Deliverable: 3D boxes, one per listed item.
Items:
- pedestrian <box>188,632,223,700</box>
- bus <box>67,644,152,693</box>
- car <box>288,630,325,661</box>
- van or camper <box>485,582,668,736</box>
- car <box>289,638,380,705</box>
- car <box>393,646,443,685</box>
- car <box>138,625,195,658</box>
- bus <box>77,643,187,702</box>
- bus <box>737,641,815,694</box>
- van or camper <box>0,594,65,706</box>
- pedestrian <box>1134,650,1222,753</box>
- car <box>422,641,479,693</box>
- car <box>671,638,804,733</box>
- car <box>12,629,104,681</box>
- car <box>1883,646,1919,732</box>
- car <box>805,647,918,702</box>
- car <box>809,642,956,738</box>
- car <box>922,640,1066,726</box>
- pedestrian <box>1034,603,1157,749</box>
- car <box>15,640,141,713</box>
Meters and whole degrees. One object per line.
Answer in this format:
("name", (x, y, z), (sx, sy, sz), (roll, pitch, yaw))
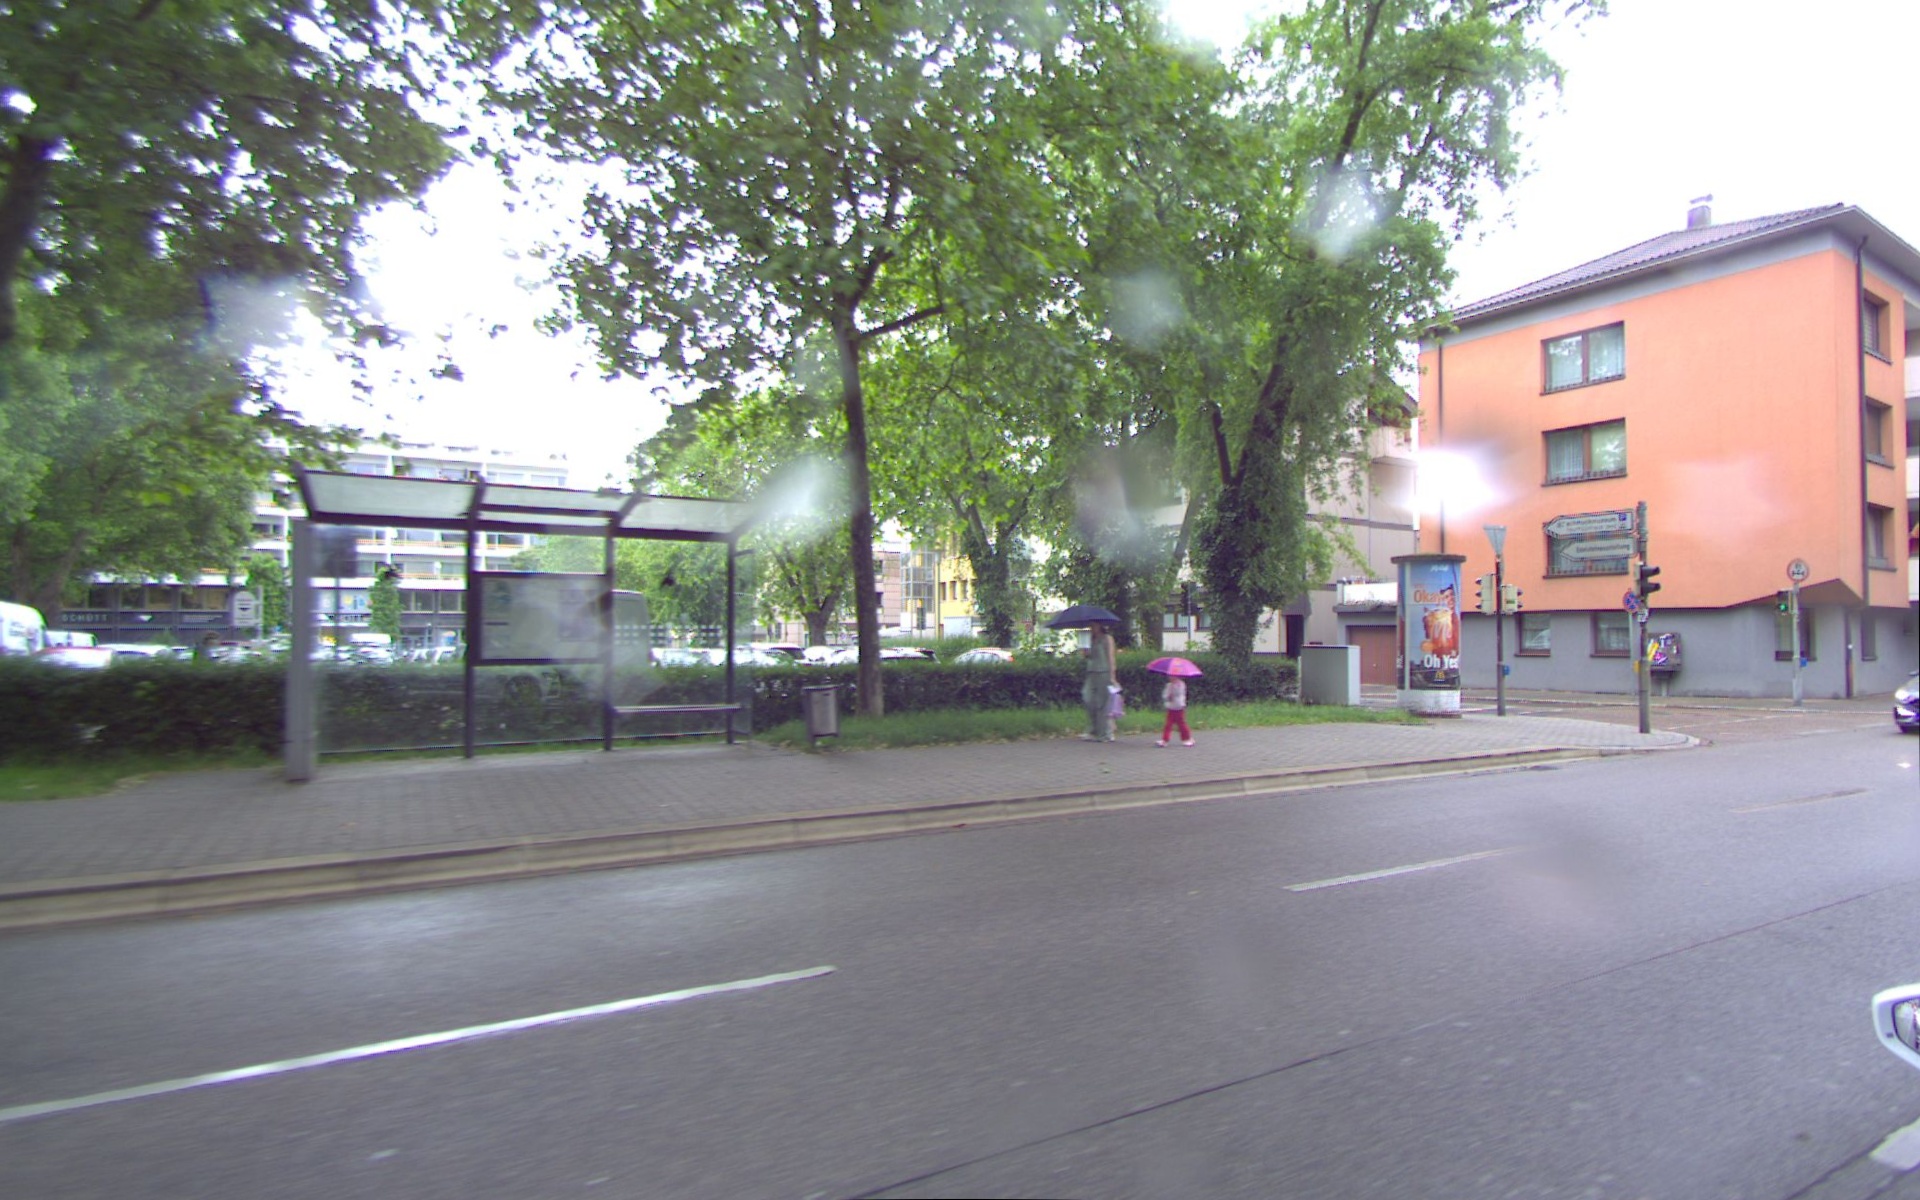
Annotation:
("pedestrian", (-14.053, 1.218, 18.720), (0.481, 1.229, 0.433), (2, 0, -37))
("bus", (-28.768, 2.291, 34.068), (1.587, 1.559, 3.403), (2, -3, -31))
("car", (-36.372, 2.497, 55.926), (1.623, 1.544, 3.174), (1, 0, -32))
("van or camper", (-6.559, 0.965, 16.868), (2.026, 2.198, 4.458), (2, -3, -32))
("car", (-14.986, 1.667, 24.045), (1.712, 1.481, 3.813), (1, -3, -33))
("car", (-21.275, 2.553, 39.380), (1.587, 1.446, 3.292), (2, -3, -31))
("car", (-36.234, 1.919, 45.929), (1.587, 1.446, 3.292), (2, -3, -31))
("bus", (-21.277, 1.833, 25.941), (1.617, 1.406, 3.542), (2, -3, -31))
("bus", (-5.381, 1.932, 29.238), (1.365, 1.451, 2.776), (2, -3, -31))
("van or camper", (-23.854, 1.219, 24.554), (2.074, 2.570, 4.391), (2, -3, -31))
("pedestrian", (2.710, 1.240, 12.525), (0.817, 1.190, 0.681), (1, 0, -31))
("car", (-15.196, 1.965, 29.908), (1.375, 1.454, 3.248), (1, -3, -29))
("car", (-4.354, 1.568, 19.369), (1.492, 1.544, 3.174), (2, 0, -32))
("car", (-33.083, 2.006, 36.954), (1.797, 1.796, 3.902), (1, -3, -32))
("car", (17.931, 1.496, 17.401), (3.985, 1.435, 1.800), (1, -4, -32))
("car", (-3.066, 2.220, 30.579), (1.799, 1.535, 3.964), (2, -3, -33))
("car", (-1.560, 1.656, 19.367), (1.492, 1.544, 3.174), (2, 0, -32))
("car", (0.652, 1.692, 21.249), (1.492, 1.544, 3.174), (2, 0, -32))
("pedestrian", (1.739, 0.941, 12.952), (1.195, 1.765, 0.987), (1, 0, -31))
("car", (-19.172, 1.632, 21.969), (1.375, 1.454, 3.248), (1, -3, -29))
